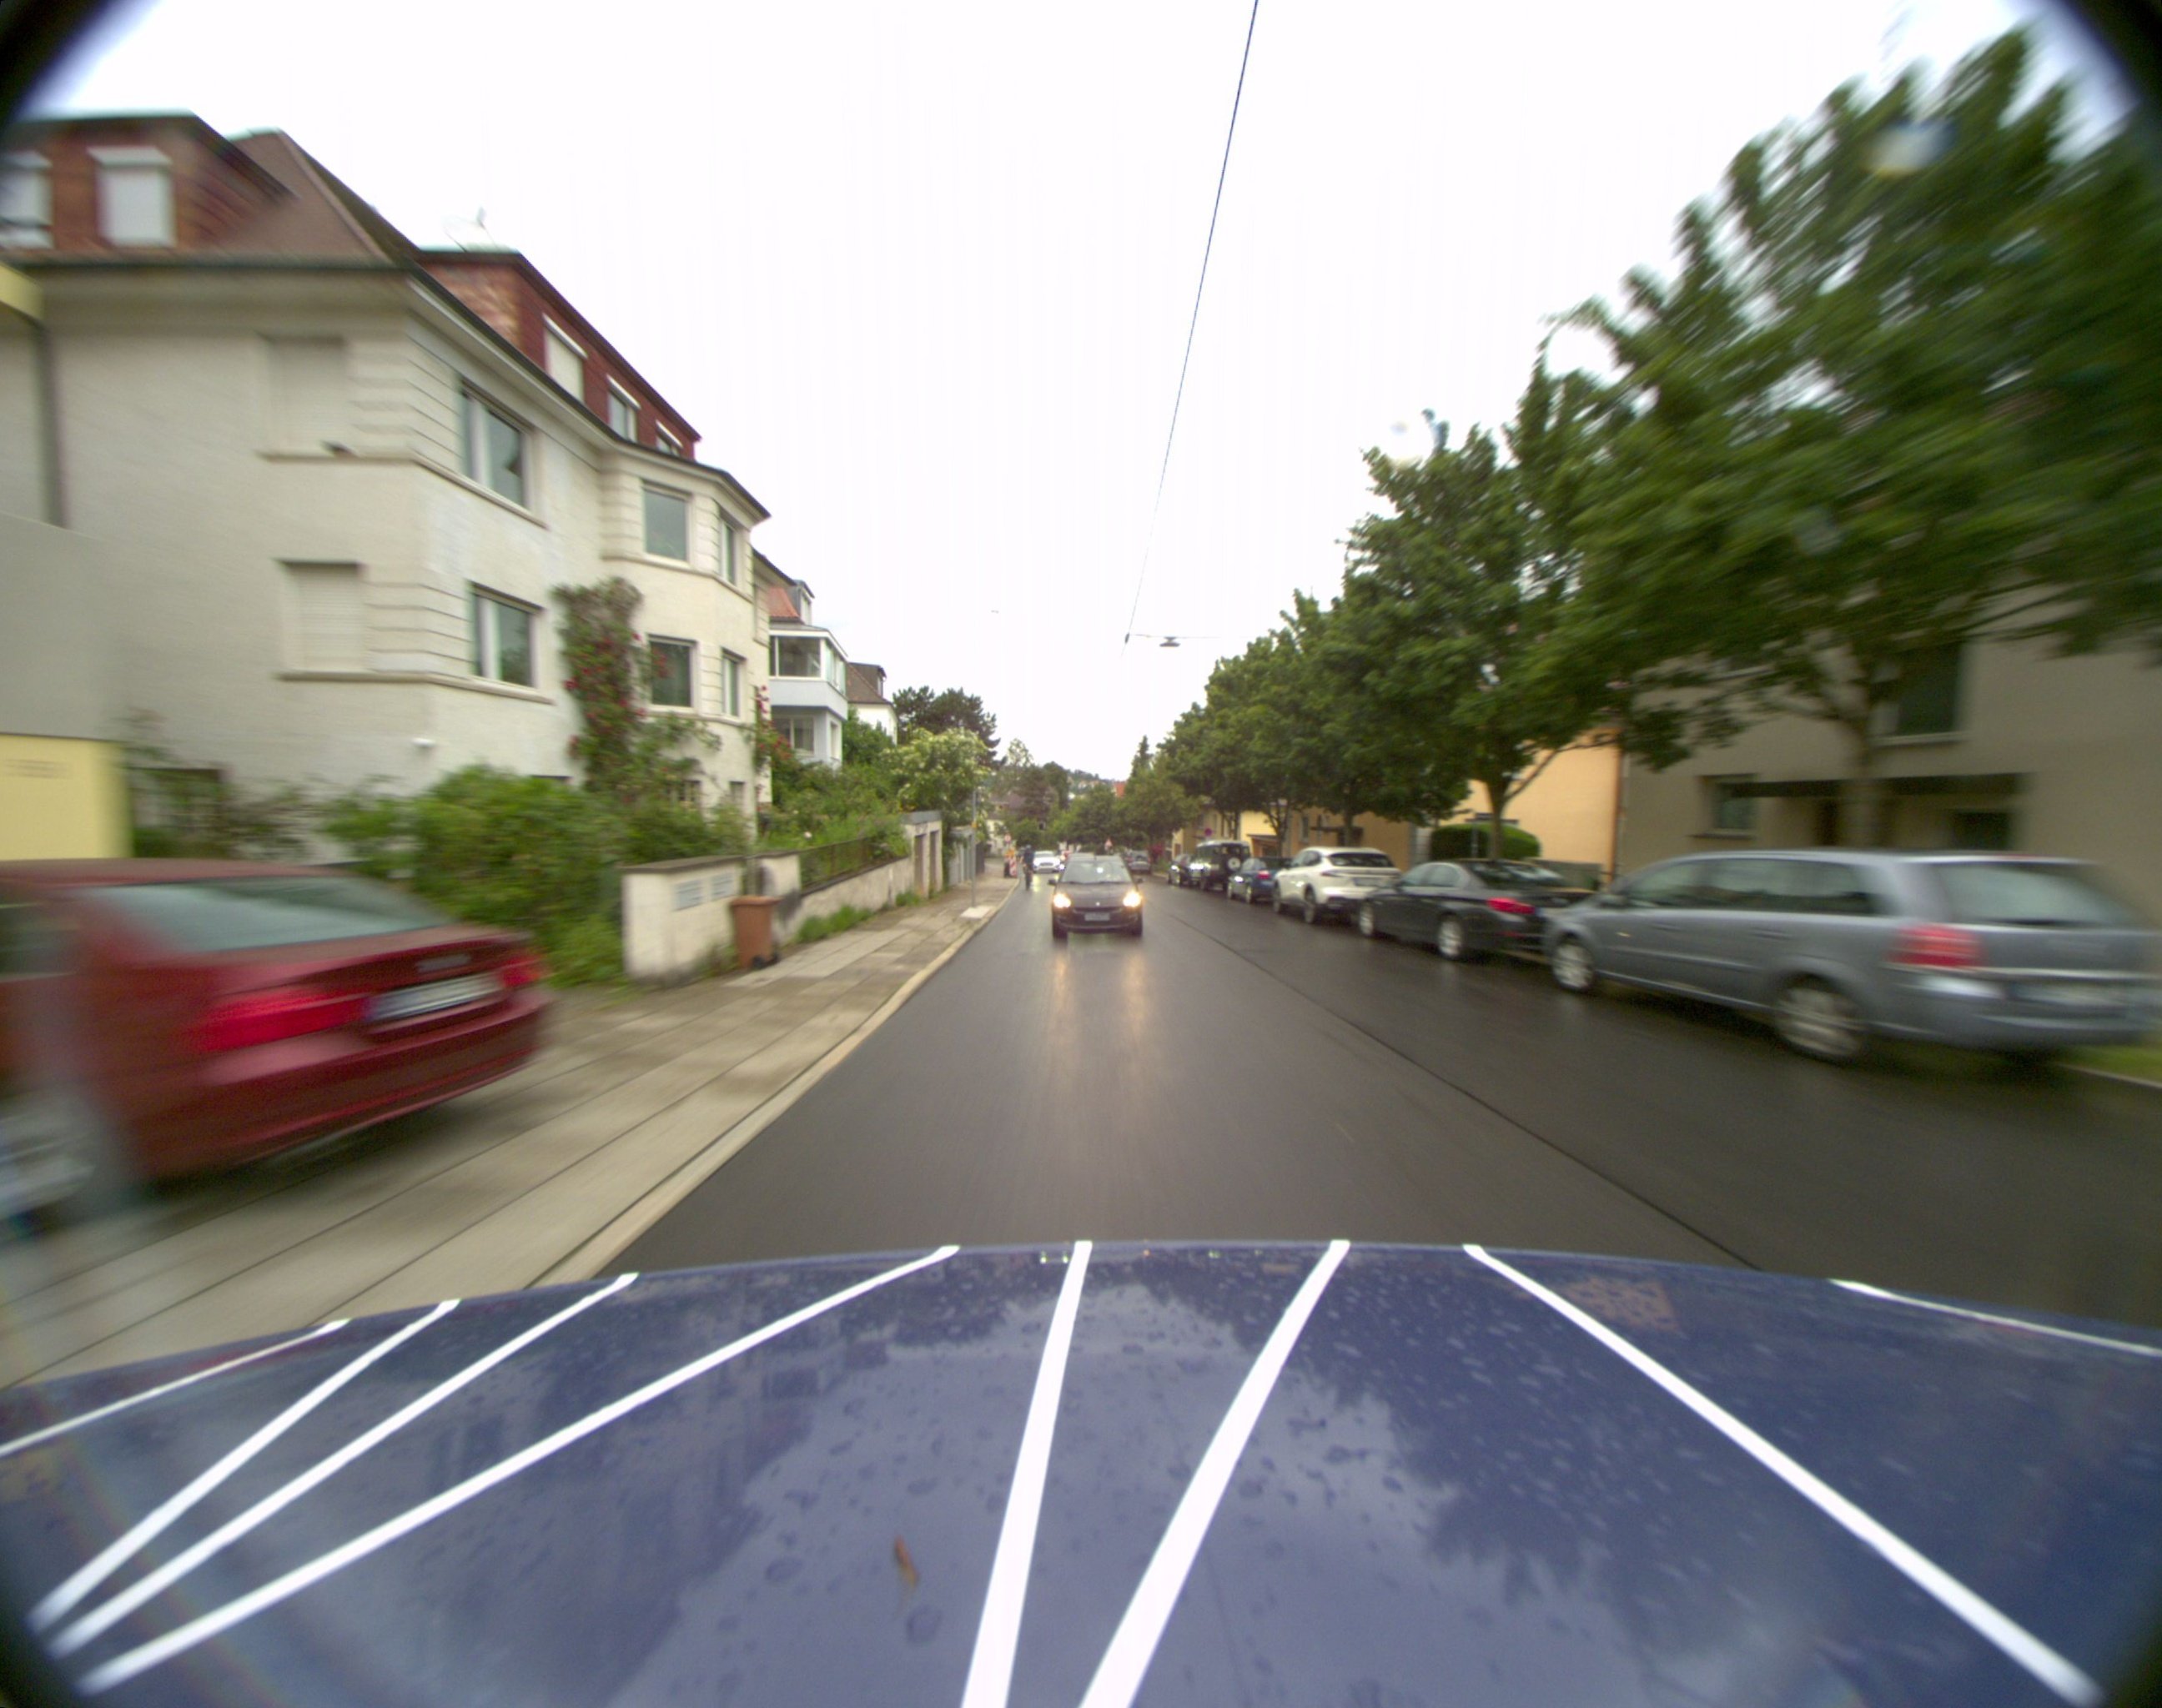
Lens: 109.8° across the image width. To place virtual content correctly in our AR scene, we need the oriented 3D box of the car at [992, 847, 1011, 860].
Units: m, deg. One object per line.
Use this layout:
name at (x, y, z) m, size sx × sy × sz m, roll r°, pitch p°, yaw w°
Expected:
car at (-12.533, -0.044, 119.738) m, size 2.002 × 1.705 × 3.994 m, roll -2°, pitch -2°, yaw -22°

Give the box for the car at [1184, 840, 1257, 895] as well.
car at (5.590, 0.472, 31.007) m, size 1.823 × 2.001 × 4.560 m, roll 3°, pitch 1°, yaw -3°

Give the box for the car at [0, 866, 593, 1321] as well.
car at (-5.005, 0.830, 3.629) m, size 4.179 × 1.398 × 1.834 m, roll 2°, pitch 0°, yaw 3°

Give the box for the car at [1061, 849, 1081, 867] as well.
car at (-1.197, 0.431, 89.664) m, size 1.999 × 2.002 × 3.998 m, roll 1°, pitch 0°, yaw -5°

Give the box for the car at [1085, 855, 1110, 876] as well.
car at (1.637, 1.070, 74.665) m, size 1.997 × 2.002 × 4.002 m, roll 1°, pitch 0°, yaw 6°

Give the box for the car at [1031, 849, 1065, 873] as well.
car at (-2.548, 0.509, 57.416) m, size 2.019 × 1.728 × 4.595 m, roll -2°, pitch 1°, yaw -9°

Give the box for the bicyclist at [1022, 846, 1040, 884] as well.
bicyclist at (-2.079, 0.453, 31.883) m, size 0.685 × 1.528 × 0.784 m, roll -2°, pitch 2°, yaw -4°

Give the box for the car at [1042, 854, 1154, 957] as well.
car at (0.321, 0.825, 14.374) m, size 1.746 × 1.434 × 4.358 m, roll -2°, pitch 2°, yaw 1°

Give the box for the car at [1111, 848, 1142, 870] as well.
car at (3.440, 0.367, 57.760) m, size 1.864 × 1.563 × 3.907 m, roll 1°, pitch 1°, yaw -4°

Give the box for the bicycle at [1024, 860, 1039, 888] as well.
bicycle at (-2.066, 0.842, 31.790) m, size 0.590 × 1.093 × 1.527 m, roll -1°, pitch 1°, yaw -4°

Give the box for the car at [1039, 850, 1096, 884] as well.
car at (-0.569, 0.575, 36.018) m, size 1.745 × 1.434 × 4.241 m, roll -1°, pitch 1°, yaw 12°

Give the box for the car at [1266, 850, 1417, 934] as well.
car at (5.733, 0.755, 17.381) m, size 1.812 × 1.604 × 4.508 m, roll 2°, pitch 0°, yaw -1°

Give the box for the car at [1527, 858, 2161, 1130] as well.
car at (6.191, 0.882, 6.805) m, size 1.722 × 1.537 × 4.293 m, roll 2°, pitch 1°, yaw -1°

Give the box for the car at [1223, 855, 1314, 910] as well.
car at (5.686, 0.815, 23.549) m, size 1.622 × 1.434 × 4.266 m, roll 3°, pitch 1°, yaw -1°

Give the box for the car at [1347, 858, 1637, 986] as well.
car at (6.039, 0.877, 11.987) m, size 1.826 × 1.500 × 4.737 m, roll 1°, pitch 1°, yaw -2°

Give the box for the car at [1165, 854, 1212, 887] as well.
car at (5.074, 0.754, 36.295) m, size 1.543 × 1.365 × 3.538 m, roll 3°, pitch 1°, yaw -3°

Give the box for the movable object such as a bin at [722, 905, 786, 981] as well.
movable object such as a bin at (-4.145, 1.118, 9.658) m, size 0.570 × 0.895 × 0.526 m, roll -1°, pitch 1°, yaw -3°

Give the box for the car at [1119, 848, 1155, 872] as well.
car at (3.850, 0.397, 52.565) m, size 1.910 × 1.591 × 4.087 m, roll 1°, pitch 1°, yaw -4°
